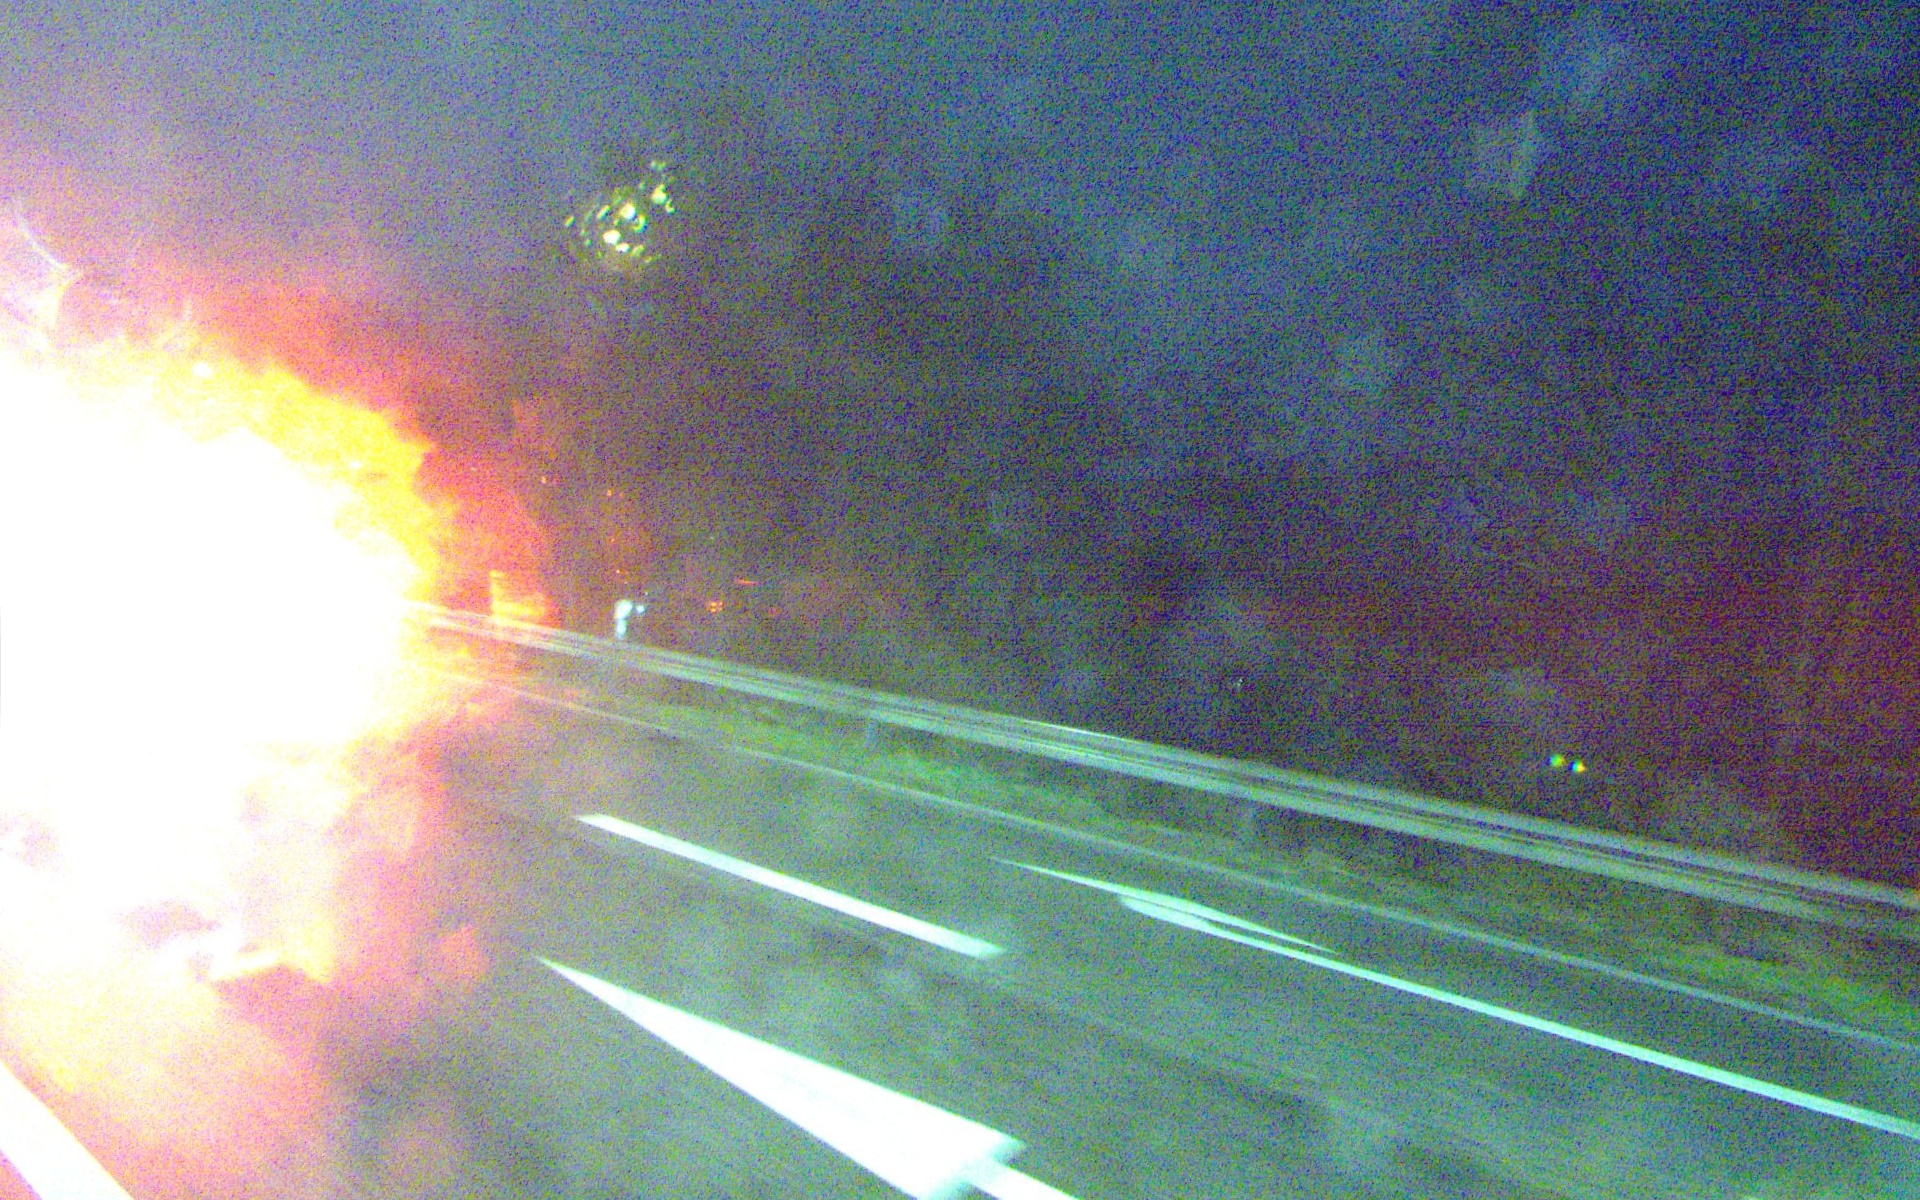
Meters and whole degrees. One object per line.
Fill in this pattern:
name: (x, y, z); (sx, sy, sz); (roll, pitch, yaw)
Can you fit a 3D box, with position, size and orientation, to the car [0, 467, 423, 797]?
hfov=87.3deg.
car: (-5.552, 0.084, 6.582); (3.713, 1.582, 1.744); (7, -3, 30)
